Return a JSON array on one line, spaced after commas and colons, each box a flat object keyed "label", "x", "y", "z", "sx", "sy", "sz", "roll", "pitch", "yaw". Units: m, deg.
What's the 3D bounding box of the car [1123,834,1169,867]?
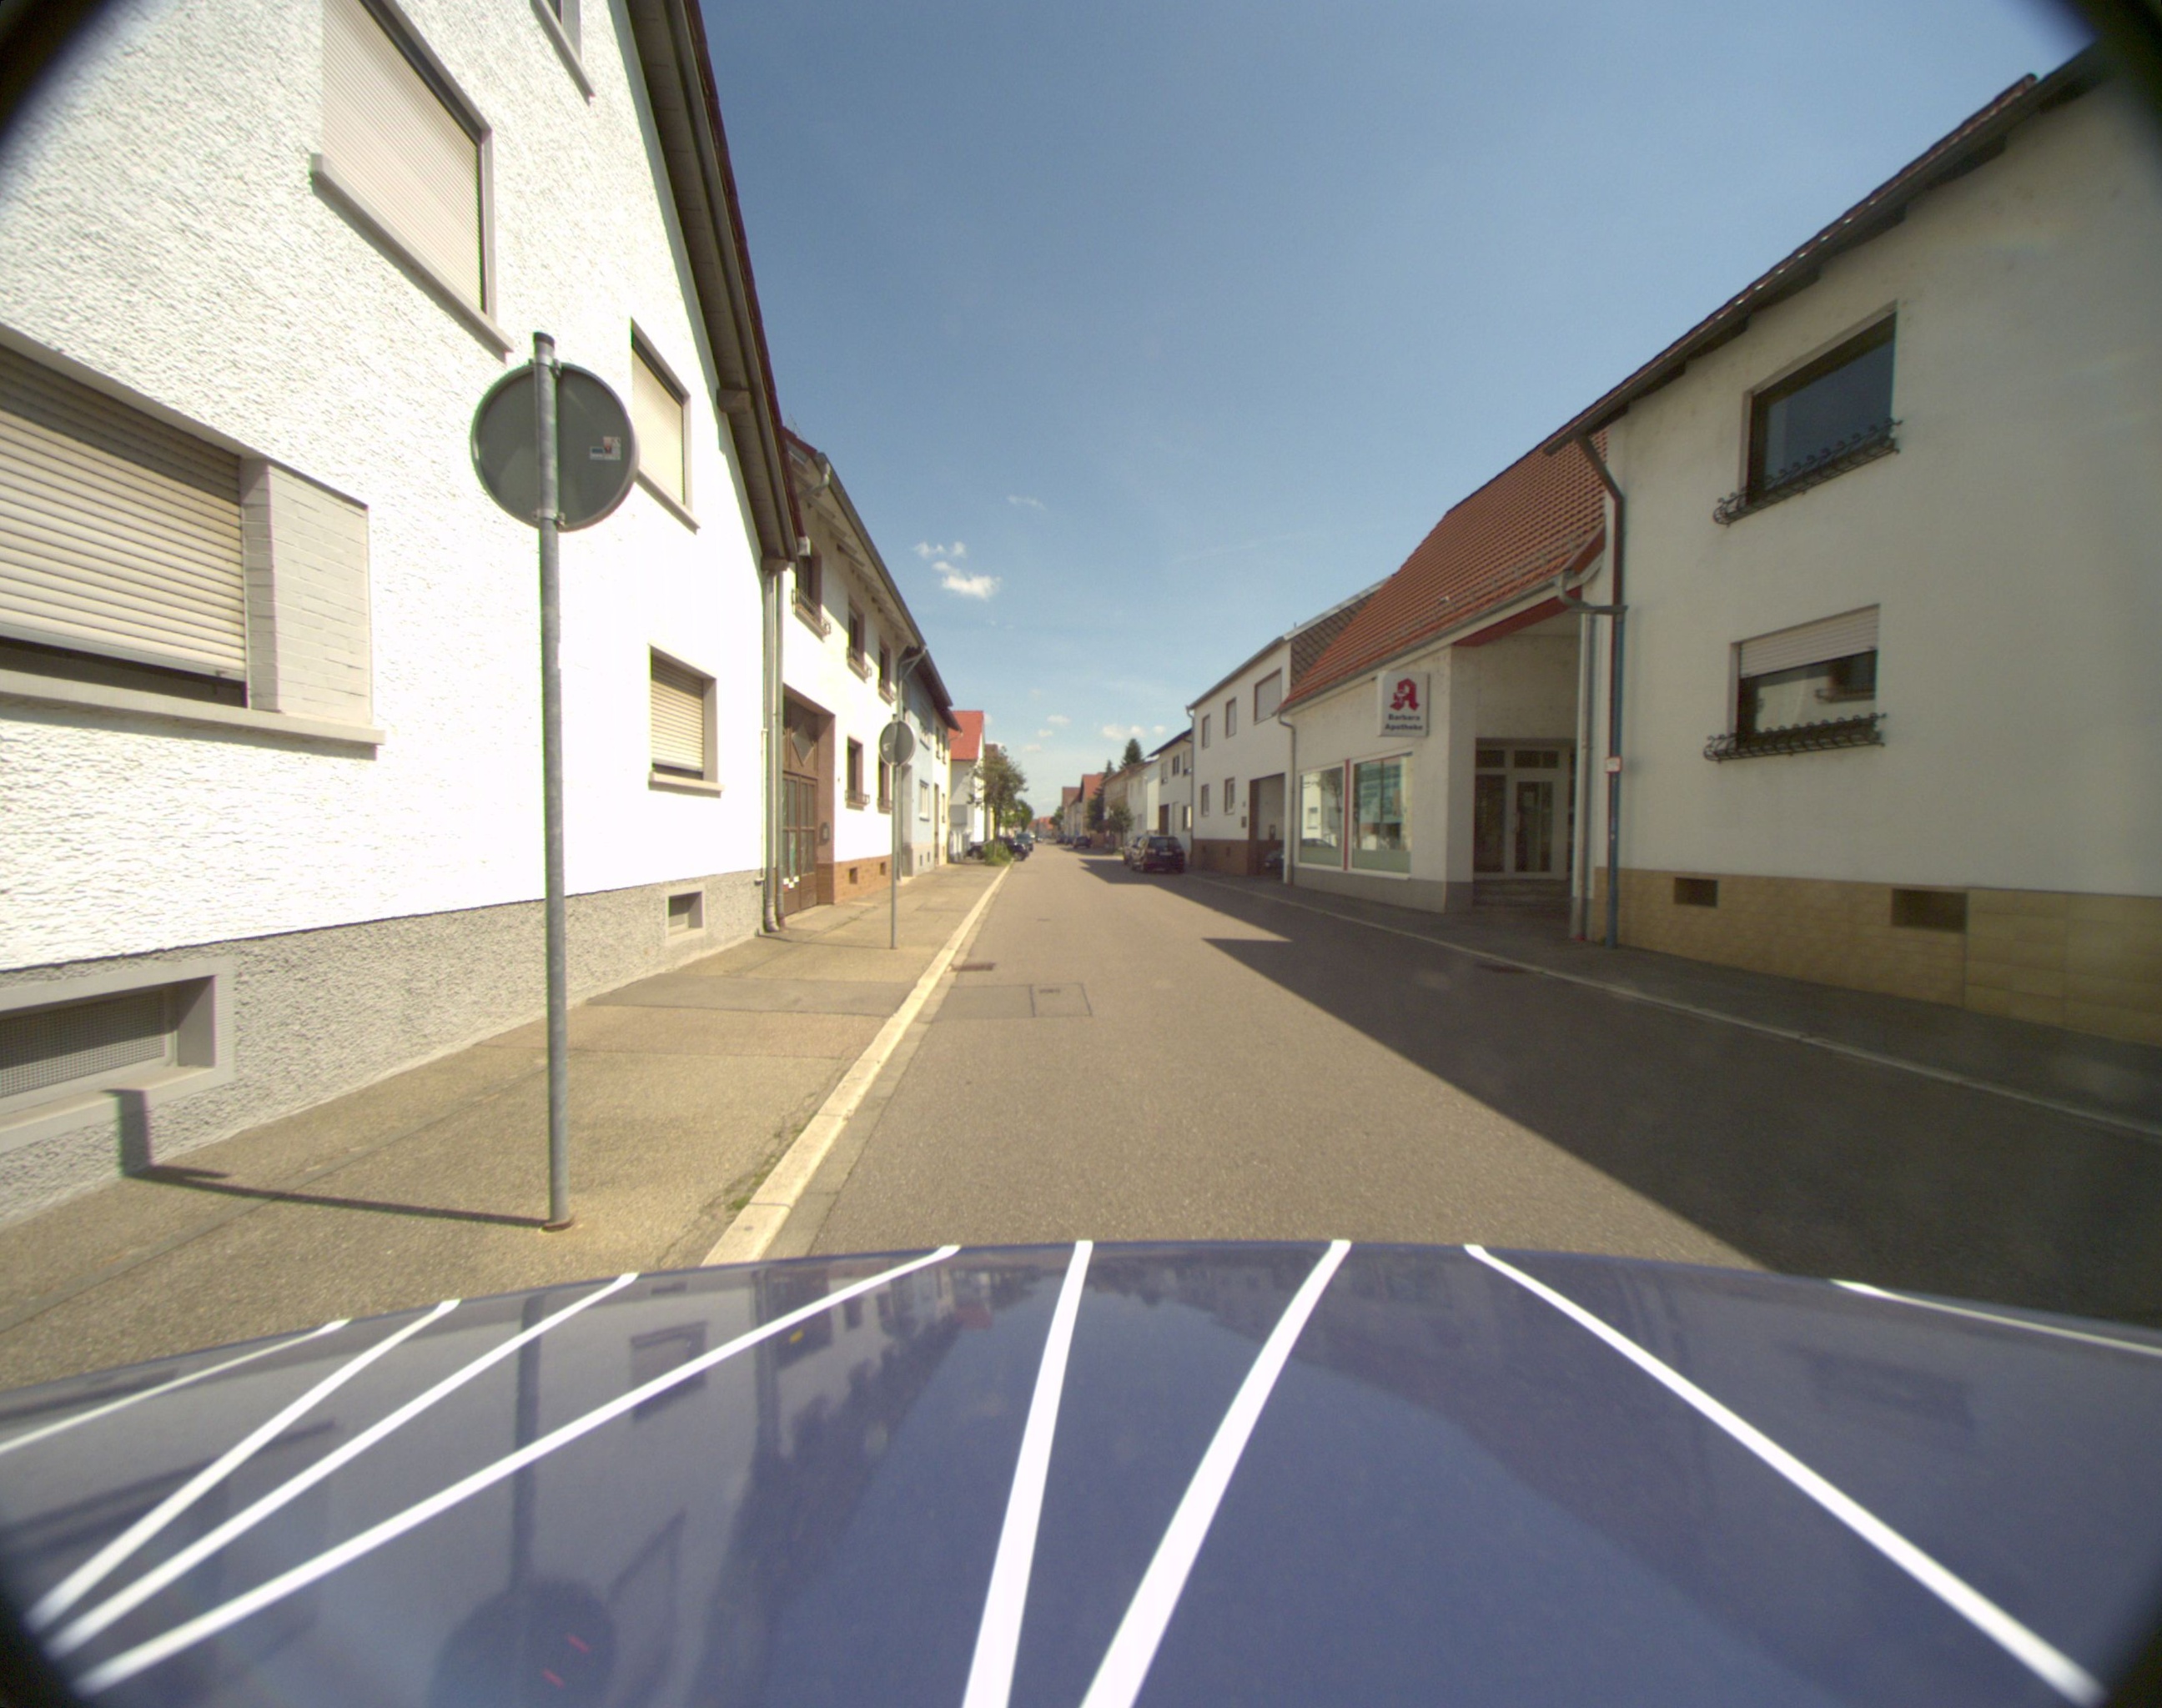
[{"label": "car", "x": 3.273, "y": -0.233, "z": 39.202, "sx": 1.759, "sy": 1.609, "sz": 4.117, "roll": 0, "pitch": 2, "yaw": -4}]

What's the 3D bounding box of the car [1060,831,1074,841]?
[{"label": "car", "x": -2.342, "y": -2.968, "z": 126.935, "sx": 1.999, "sy": 1.571, "sz": 3.996, "roll": 0, "pitch": 2, "yaw": -6}]

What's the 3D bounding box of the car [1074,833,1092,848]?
[{"label": "car", "x": 0.202, "y": -1.573, "z": 87.471, "sx": 1.852, "sy": 1.689, "sz": 3.997, "roll": 0, "pitch": 2, "yaw": -3}]

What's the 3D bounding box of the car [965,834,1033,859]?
[{"label": "car", "x": -4.845, "y": -0.448, "z": 45.243, "sx": 3.815, "sy": 1.421, "sz": 1.727, "roll": 0, "pitch": 2, "yaw": 1}]

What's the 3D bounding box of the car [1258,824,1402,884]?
[{"label": "car", "x": 7.948, "y": -0.032, "z": 24.459, "sx": 3.998, "sy": 1.709, "sz": 1.813, "roll": -2, "pitch": 2, "yaw": -2}]

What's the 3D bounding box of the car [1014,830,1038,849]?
[{"label": "car", "x": -5.036, "y": -1.331, "z": 70.051, "sx": 1.999, "sy": 1.696, "sz": 3.998, "roll": 0, "pitch": 2, "yaw": -2}]

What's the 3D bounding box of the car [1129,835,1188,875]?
[{"label": "car", "x": 3.219, "y": -0.015, "z": 32.197, "sx": 1.753, "sy": 1.557, "sz": 3.951, "roll": 0, "pitch": 2, "yaw": -5}]

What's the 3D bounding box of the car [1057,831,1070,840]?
[{"label": "car", "x": -3.064, "y": -3.224, "z": 133.031, "sx": 1.999, "sy": 1.571, "sz": 3.997, "roll": 0, "pitch": 2, "yaw": -4}]

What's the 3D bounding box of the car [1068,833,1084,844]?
[{"label": "car", "x": -0.722, "y": -2.244, "z": 108.655, "sx": 1.855, "sy": 1.543, "sz": 3.996, "roll": 0, "pitch": 2, "yaw": -6}]

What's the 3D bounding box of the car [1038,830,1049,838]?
[{"label": "car", "x": -6.717, "y": -3.565, "z": 135.475, "sx": 1.958, "sy": 1.521, "sz": 3.997, "roll": 0, "pitch": 2, "yaw": -3}]
